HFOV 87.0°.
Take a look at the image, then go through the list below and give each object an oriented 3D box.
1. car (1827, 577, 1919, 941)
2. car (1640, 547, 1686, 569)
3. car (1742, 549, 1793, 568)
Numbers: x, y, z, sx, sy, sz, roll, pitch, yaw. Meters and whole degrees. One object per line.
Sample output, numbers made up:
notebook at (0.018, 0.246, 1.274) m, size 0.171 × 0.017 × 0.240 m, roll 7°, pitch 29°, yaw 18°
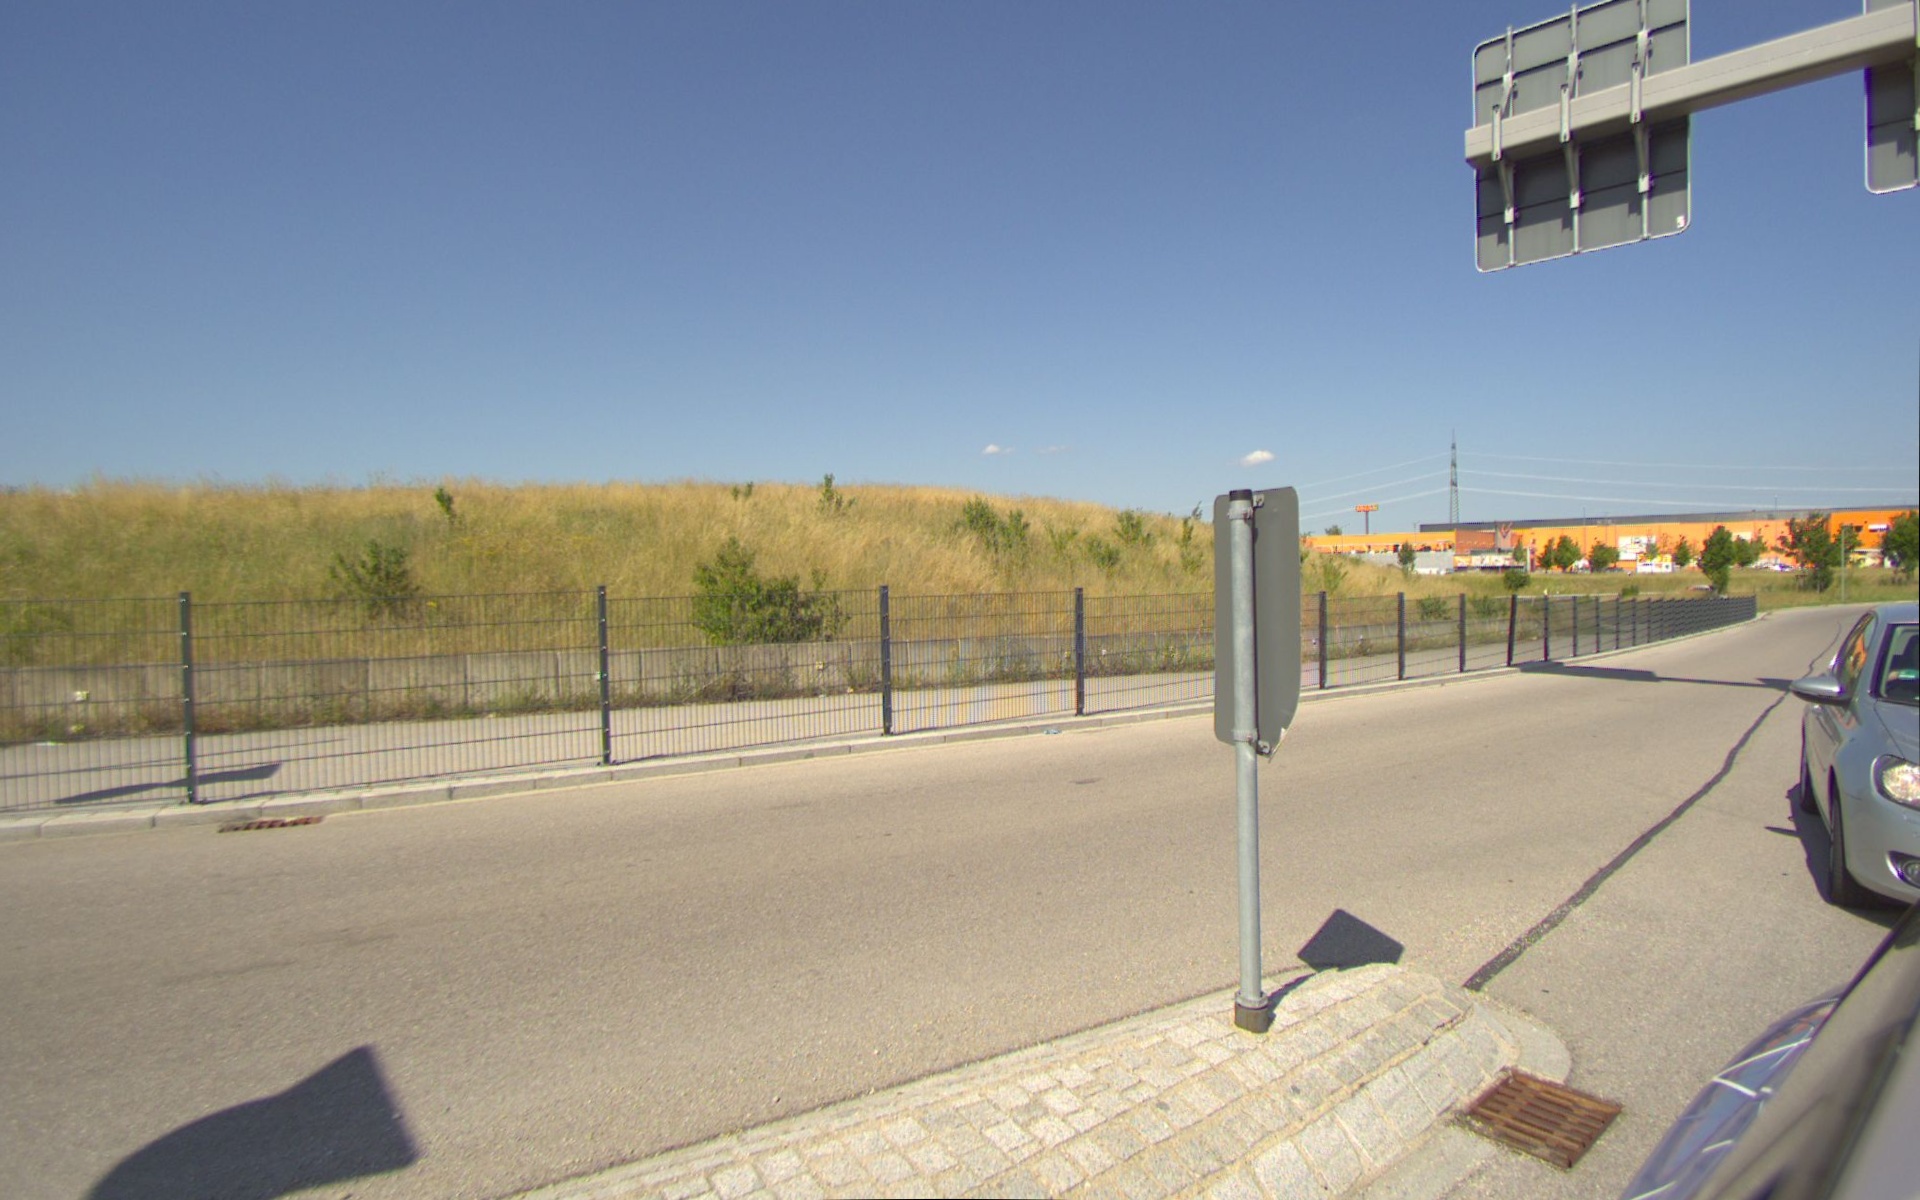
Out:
car at (5.676, 0.654, 5.243) m, size 1.740 × 1.486 × 3.902 m, roll 3°, pitch 3°, yaw 41°
car at (87.902, -5.200, 126.587) m, size 4.611 × 2.580 × 1.973 m, roll -1°, pitch 0°, yaw 38°
car at (95.626, -4.869, 119.916) m, size 4.611 × 2.039 × 1.973 m, roll -1°, pitch 1°, yaw 38°
